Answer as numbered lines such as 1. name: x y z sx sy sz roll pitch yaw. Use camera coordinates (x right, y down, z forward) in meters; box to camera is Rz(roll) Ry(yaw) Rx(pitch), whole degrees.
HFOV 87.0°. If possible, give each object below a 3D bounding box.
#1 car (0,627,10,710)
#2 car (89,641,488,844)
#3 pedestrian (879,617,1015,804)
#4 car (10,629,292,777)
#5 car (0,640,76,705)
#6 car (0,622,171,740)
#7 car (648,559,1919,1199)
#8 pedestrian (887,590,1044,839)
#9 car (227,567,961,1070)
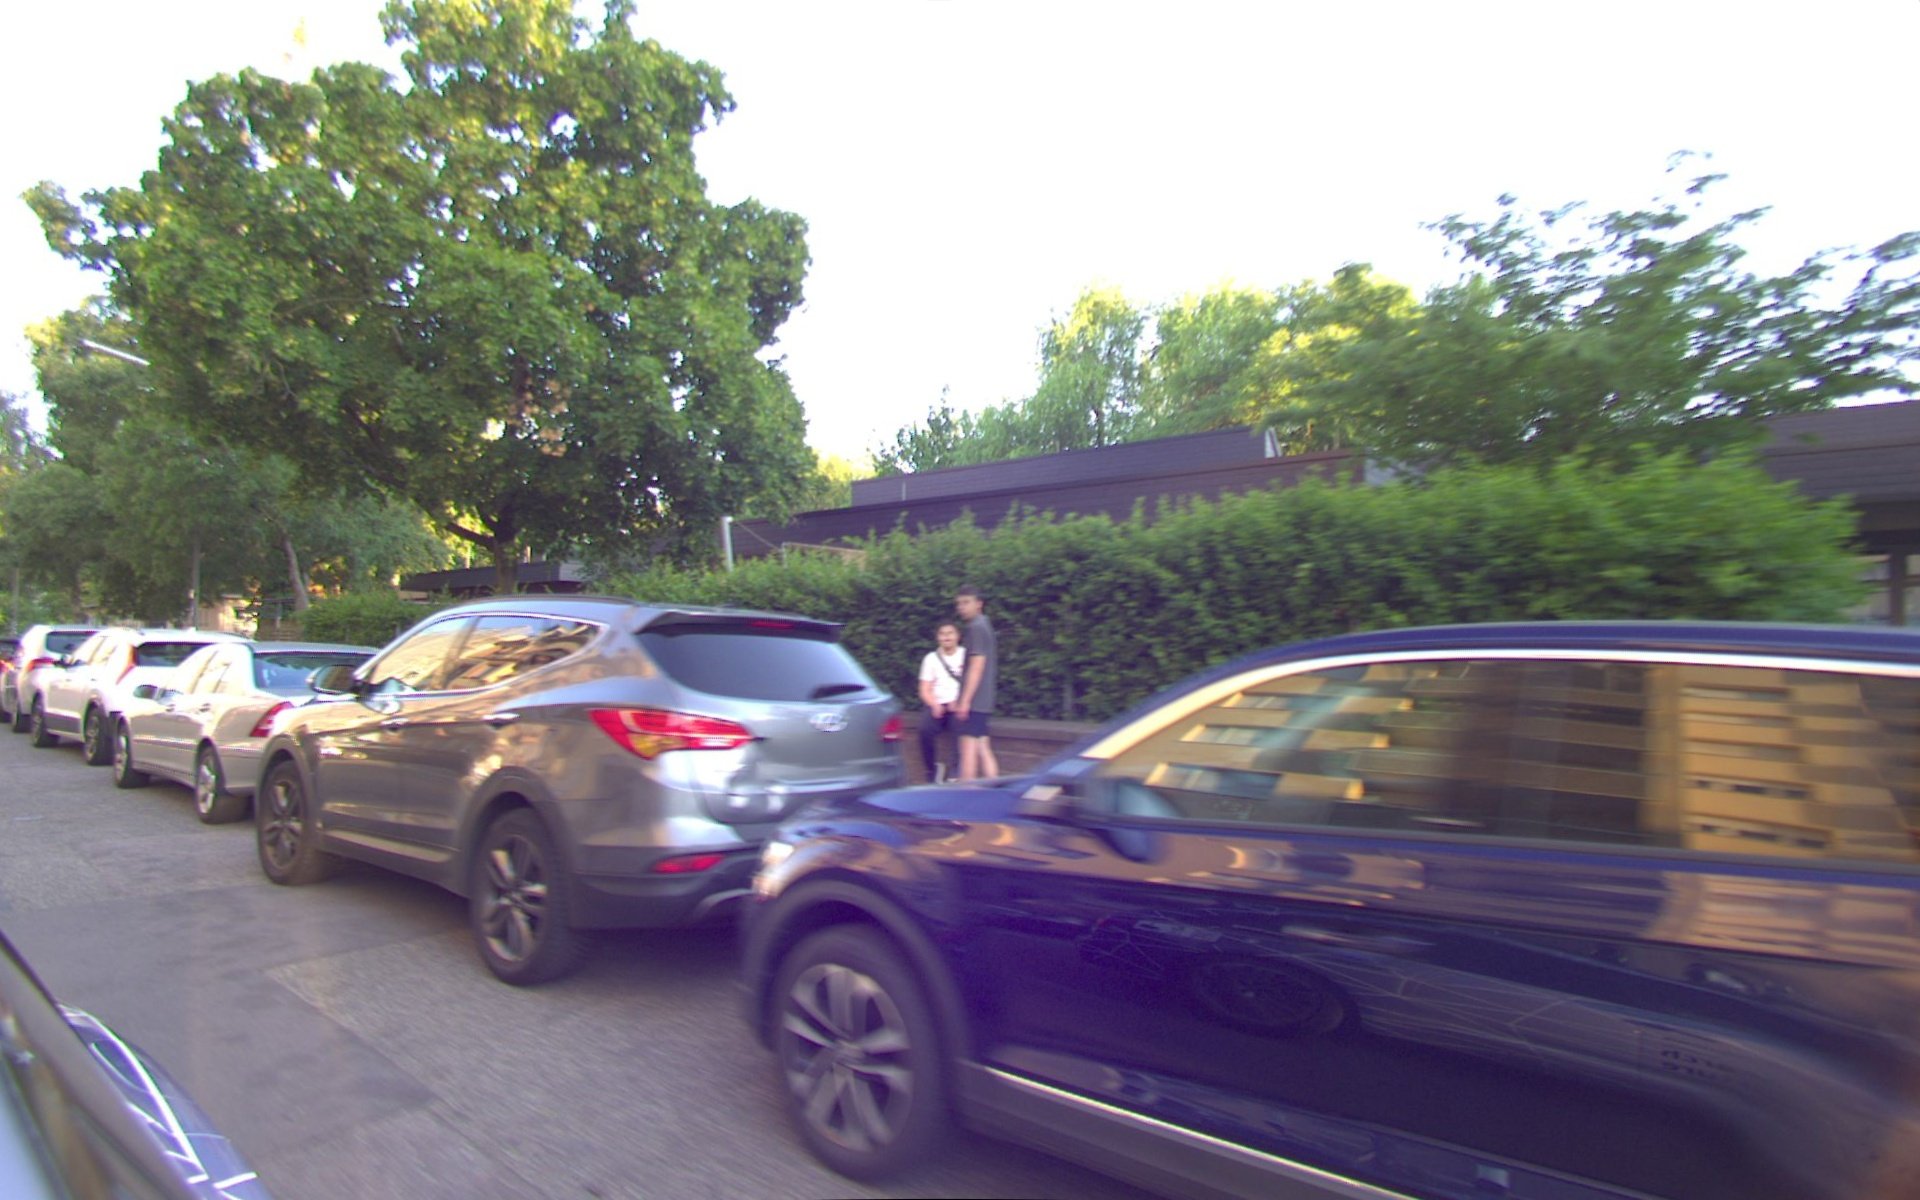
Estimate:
1. car: -19.736 1.340 19.617 1.712 1.644 4.130 4 -5 -42
2. car: -6.251 1.121 9.245 4.281 1.438 1.717 -2 -5 38
3. pedestrian: -0.114 0.921 8.881 0.901 1.519 0.741 -2 0 39
4. car: -10.196 1.182 12.653 4.274 1.555 1.742 -2 -5 38
5. car: -22.257 1.681 23.855 3.413 1.436 1.603 -2 -5 41
6. car: -14.157 1.239 16.130 3.978 1.644 1.715 -2 -5 41
7. car: 1.210 0.803 2.562 4.161 1.579 1.717 -2 -5 38
8. pedestrian: 0.047 0.809 7.713 0.750 1.745 0.889 -2 0 43
9. car: -2.227 0.856 5.563 4.317 1.743 1.717 -2 -5 38
